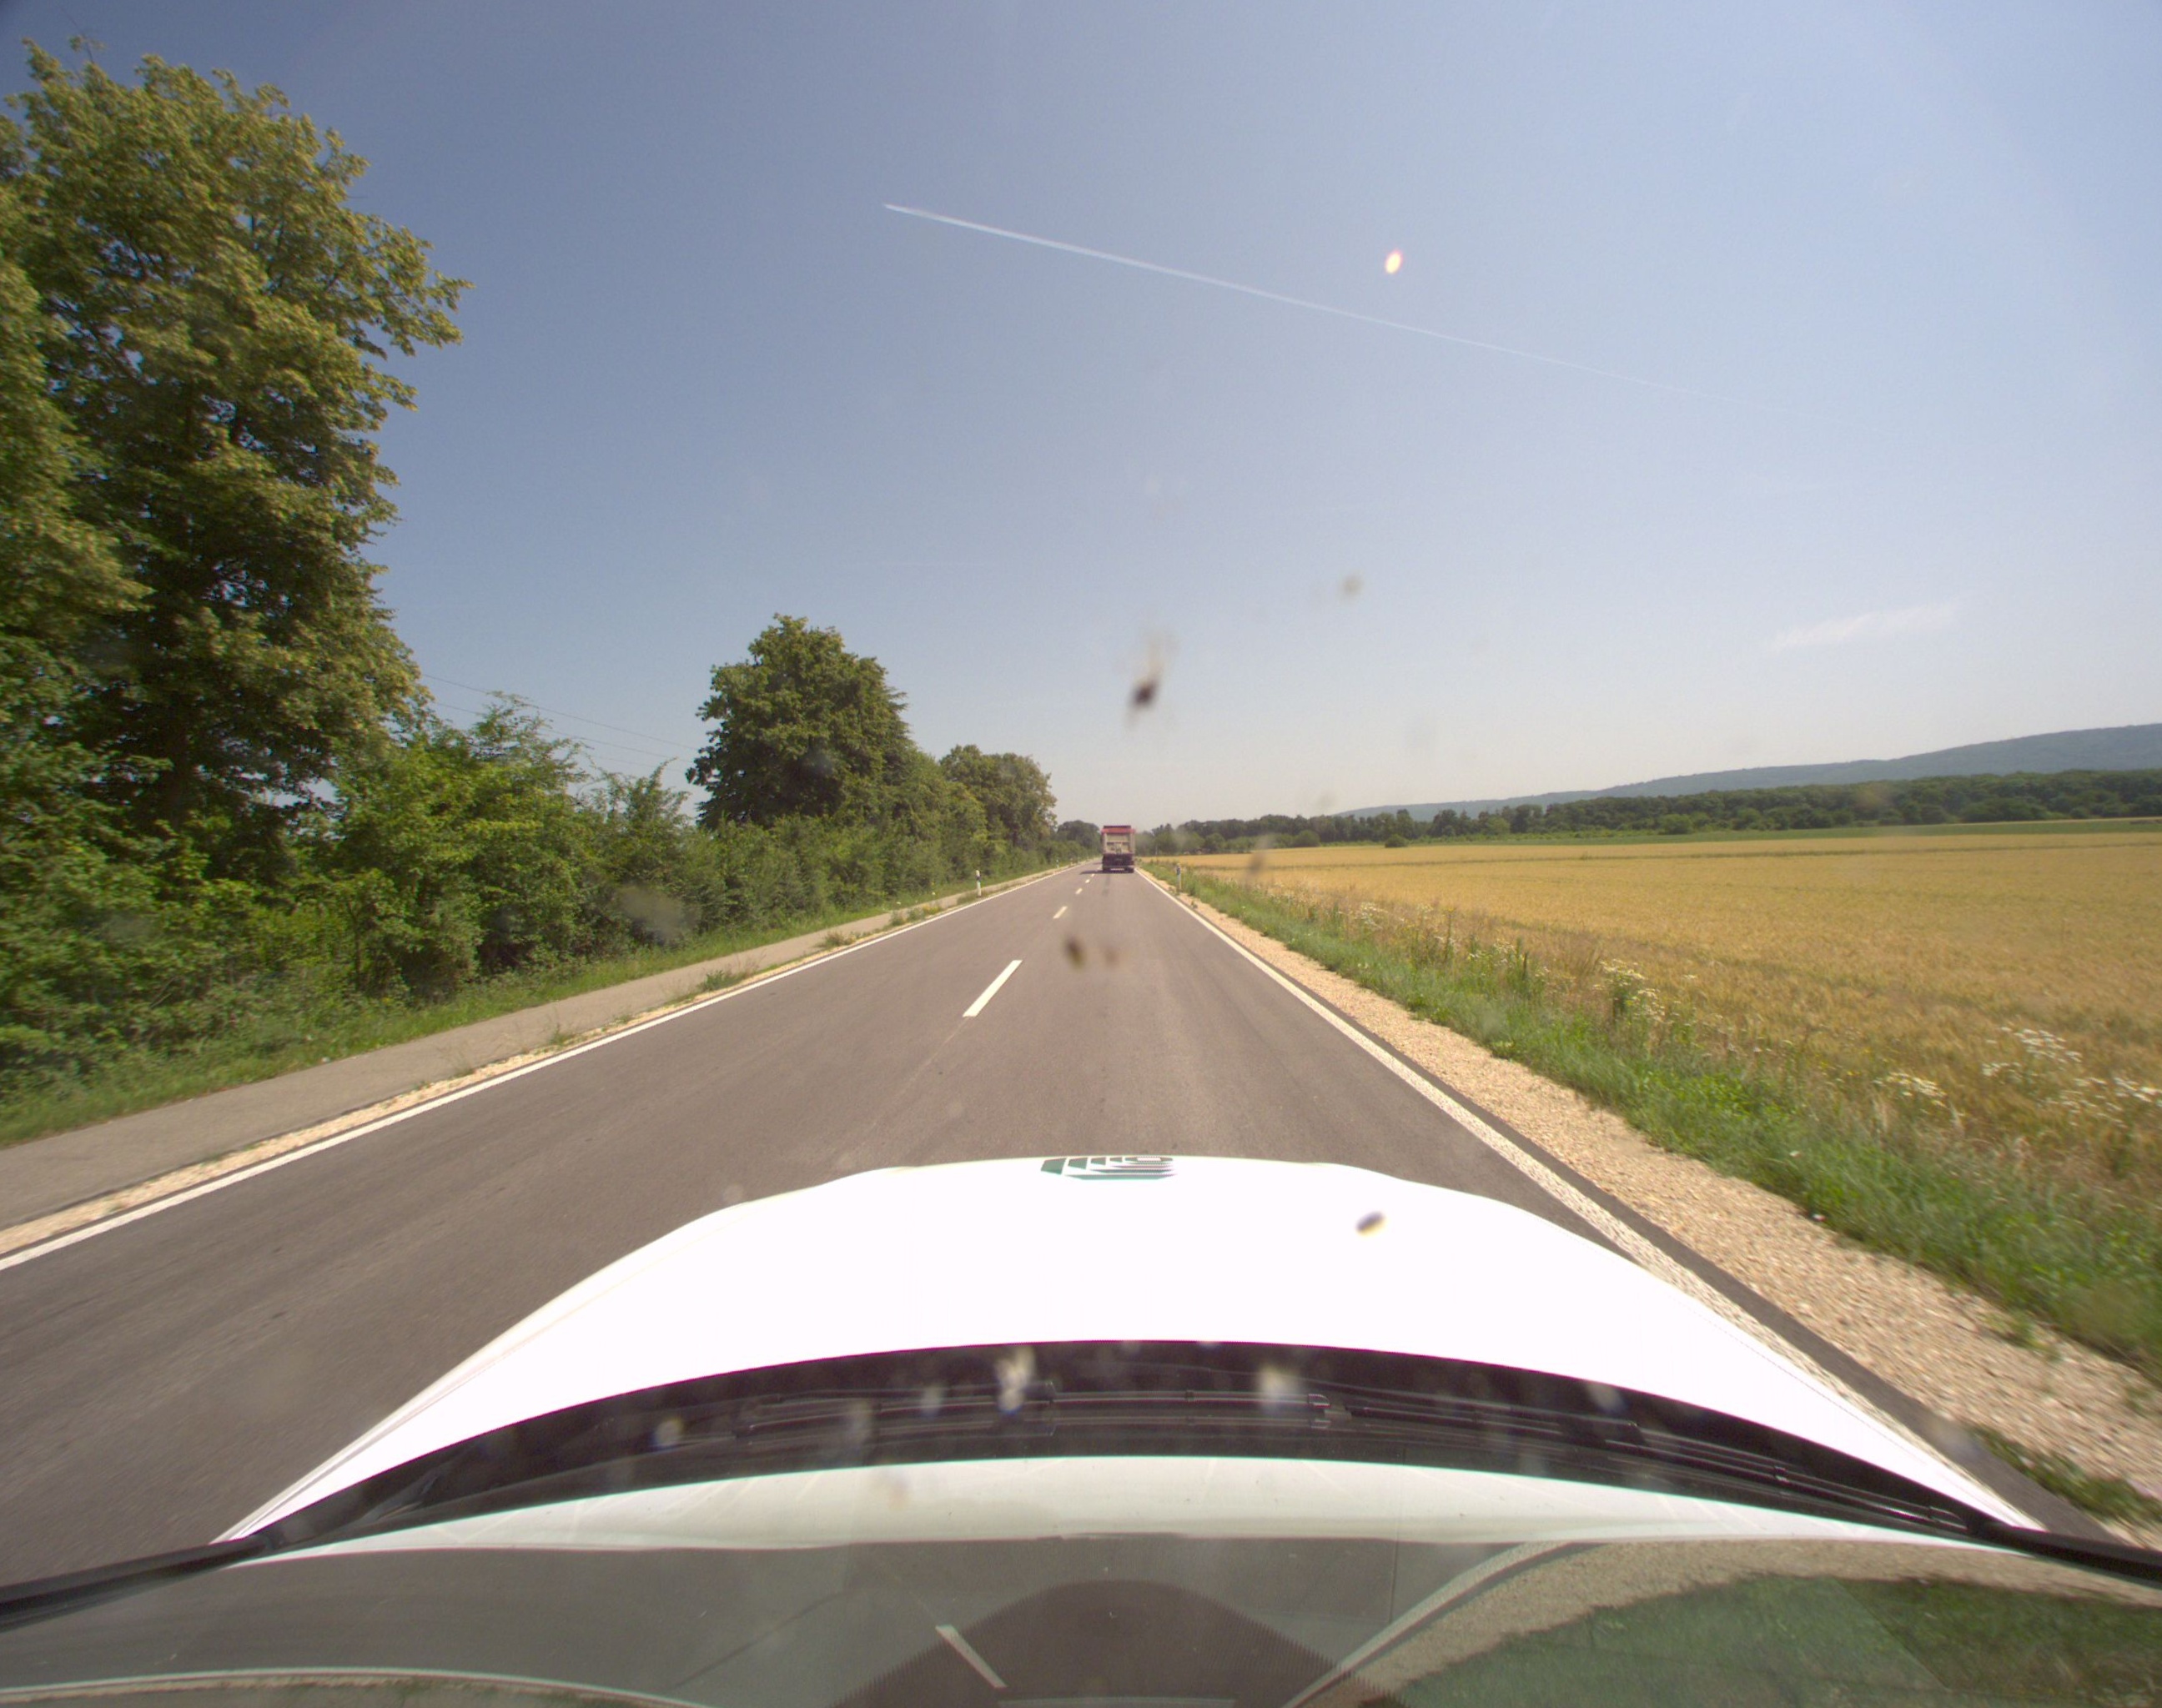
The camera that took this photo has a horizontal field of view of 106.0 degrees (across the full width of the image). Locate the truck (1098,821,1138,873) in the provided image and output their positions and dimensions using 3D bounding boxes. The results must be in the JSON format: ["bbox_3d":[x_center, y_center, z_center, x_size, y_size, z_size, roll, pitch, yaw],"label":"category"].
[{"bbox_3d":[3.040,-0.458,67.332,2.998,3.874,12.215,0,0,2],"label":"truck"}]
